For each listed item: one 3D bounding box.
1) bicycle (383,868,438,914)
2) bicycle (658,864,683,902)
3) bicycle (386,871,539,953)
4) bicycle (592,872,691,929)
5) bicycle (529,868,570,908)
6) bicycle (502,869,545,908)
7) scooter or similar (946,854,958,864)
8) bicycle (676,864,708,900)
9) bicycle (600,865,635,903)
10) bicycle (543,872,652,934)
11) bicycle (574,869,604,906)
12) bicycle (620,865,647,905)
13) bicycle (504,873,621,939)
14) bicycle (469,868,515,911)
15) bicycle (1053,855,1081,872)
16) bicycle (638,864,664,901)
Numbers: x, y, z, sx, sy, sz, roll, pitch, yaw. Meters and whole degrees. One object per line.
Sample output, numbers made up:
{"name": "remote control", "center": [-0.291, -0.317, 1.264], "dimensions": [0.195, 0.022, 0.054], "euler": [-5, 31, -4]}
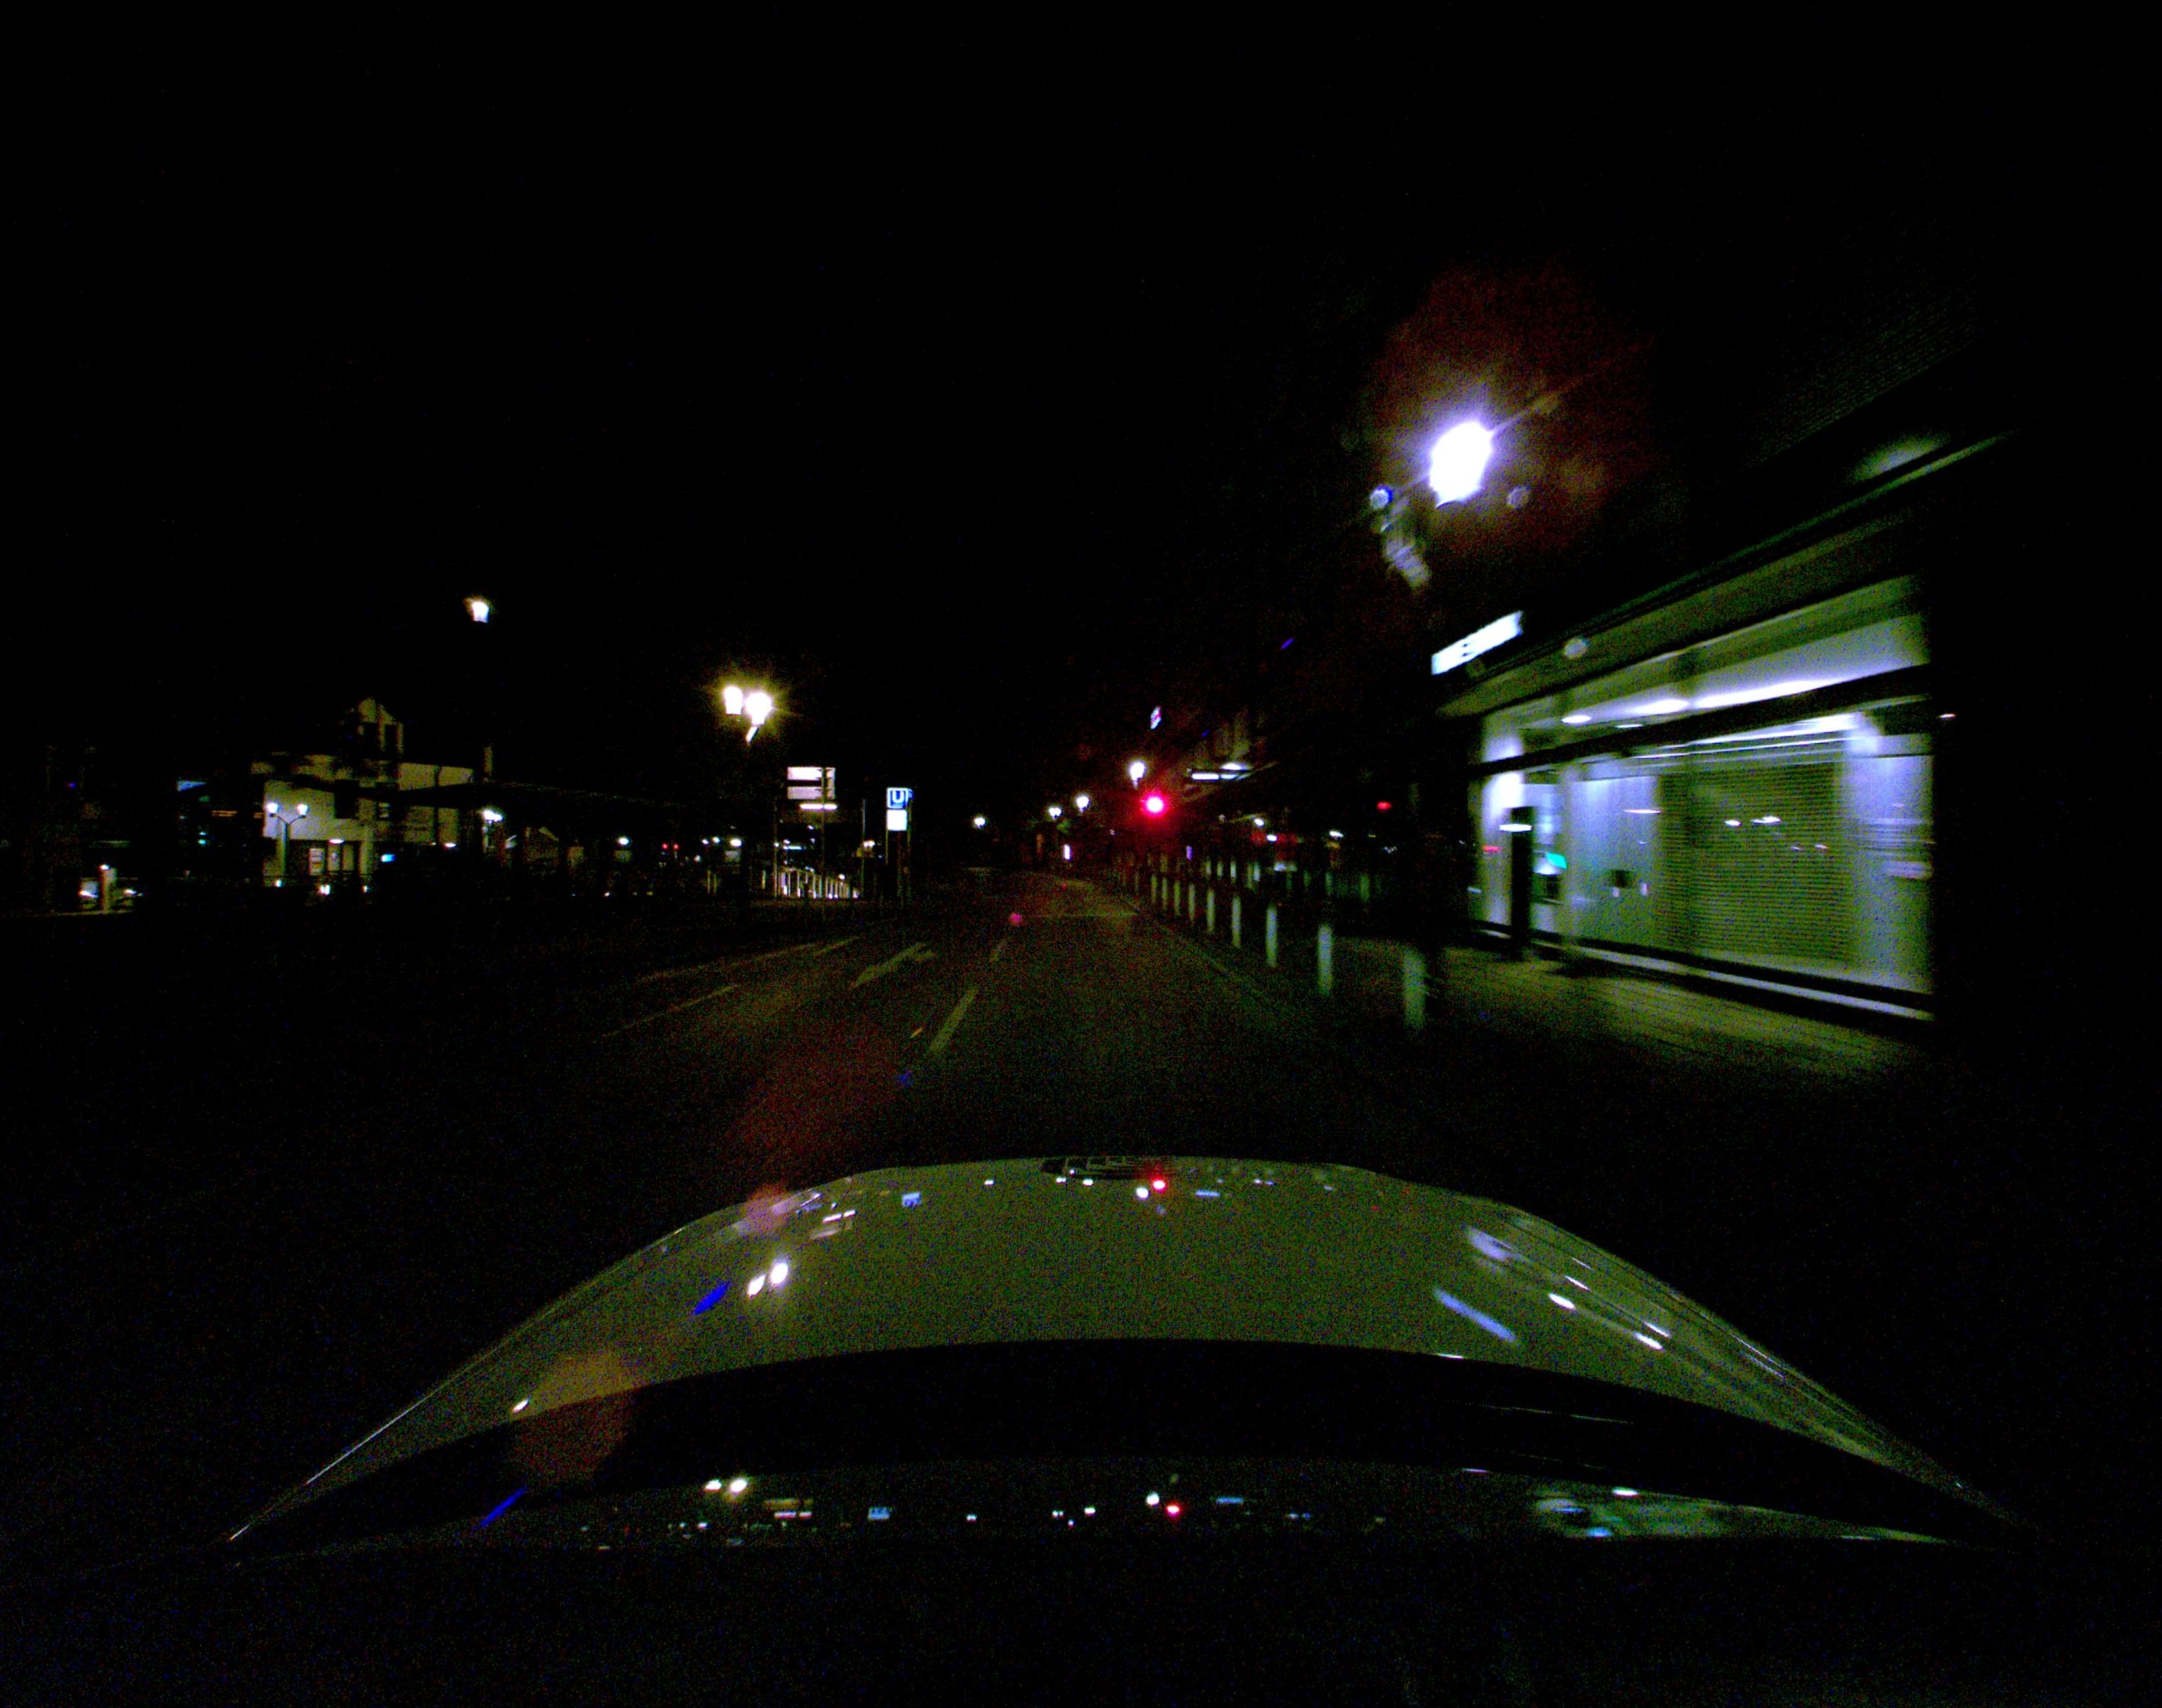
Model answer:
{"name": "bicycle", "center": [-19.579, 1.058, 23.825], "dimensions": [0.609, 1.218, 1.736], "euler": [-2, 1, -18]}
{"name": "bicycle", "center": [-13.670, 0.941, 27.112], "dimensions": [0.547, 1.154, 1.729], "euler": [-2, 1, -33]}
{"name": "bicycle", "center": [-9.317, 0.859, 12.307], "dimensions": [1.764, 1.164, 0.670], "euler": [-1, 0, -1]}
{"name": "bicycle", "center": [-8.822, 0.914, 16.382], "dimensions": [1.611, 1.105, 0.670], "euler": [0, -1, -1]}
{"name": "bicycle", "center": [-16.480, 1.020, 25.291], "dimensions": [0.609, 1.125, 1.736], "euler": [-2, 1, -18]}
{"name": "bicycle", "center": [-17.418, 1.047, 25.477], "dimensions": [0.609, 1.100, 1.736], "euler": [-2, 1, -18]}
{"name": "scooter or similar", "center": [-15.314, 0.612, 96.372], "dimensions": [1.253, 1.227, 0.593], "euler": [1, 0, -29]}
{"name": "bicycle", "center": [-13.362, 0.936, 27.939], "dimensions": [0.764, 1.162, 1.729], "euler": [-2, 1, -33]}
{"name": "bicycle", "center": [-15.261, 0.974, 26.859], "dimensions": [0.608, 1.165, 1.737], "euler": [-2, 1, -18]}
{"name": "bicycle", "center": [-8.965, 0.893, 15.135], "dimensions": [1.611, 1.105, 0.670], "euler": [0, -1, -1]}
{"name": "bicycle", "center": [-15.636, 1.040, 25.861], "dimensions": [0.612, 1.069, 1.728], "euler": [-2, 1, -37]}
{"name": "bicycle", "center": [-14.369, 0.974, 26.150], "dimensions": [0.611, 1.165, 1.729], "euler": [-2, 1, -33]}
{"name": "bicycle", "center": [-9.128, 0.902, 14.378], "dimensions": [1.611, 1.105, 0.670], "euler": [-1, -1, -1]}
{"name": "bicycle", "center": [-17.869, 1.057, 24.755], "dimensions": [0.609, 1.165, 1.736], "euler": [-2, 1, -18]}
{"name": "bicycle", "center": [-0.953, 0.624, 54.292], "dimensions": [1.758, 1.062, 0.650], "euler": [0, 1, -26]}
{"name": "bicycle", "center": [-14.588, 0.945, 27.627], "dimensions": [0.611, 1.165, 1.729], "euler": [-2, 1, -33]}
